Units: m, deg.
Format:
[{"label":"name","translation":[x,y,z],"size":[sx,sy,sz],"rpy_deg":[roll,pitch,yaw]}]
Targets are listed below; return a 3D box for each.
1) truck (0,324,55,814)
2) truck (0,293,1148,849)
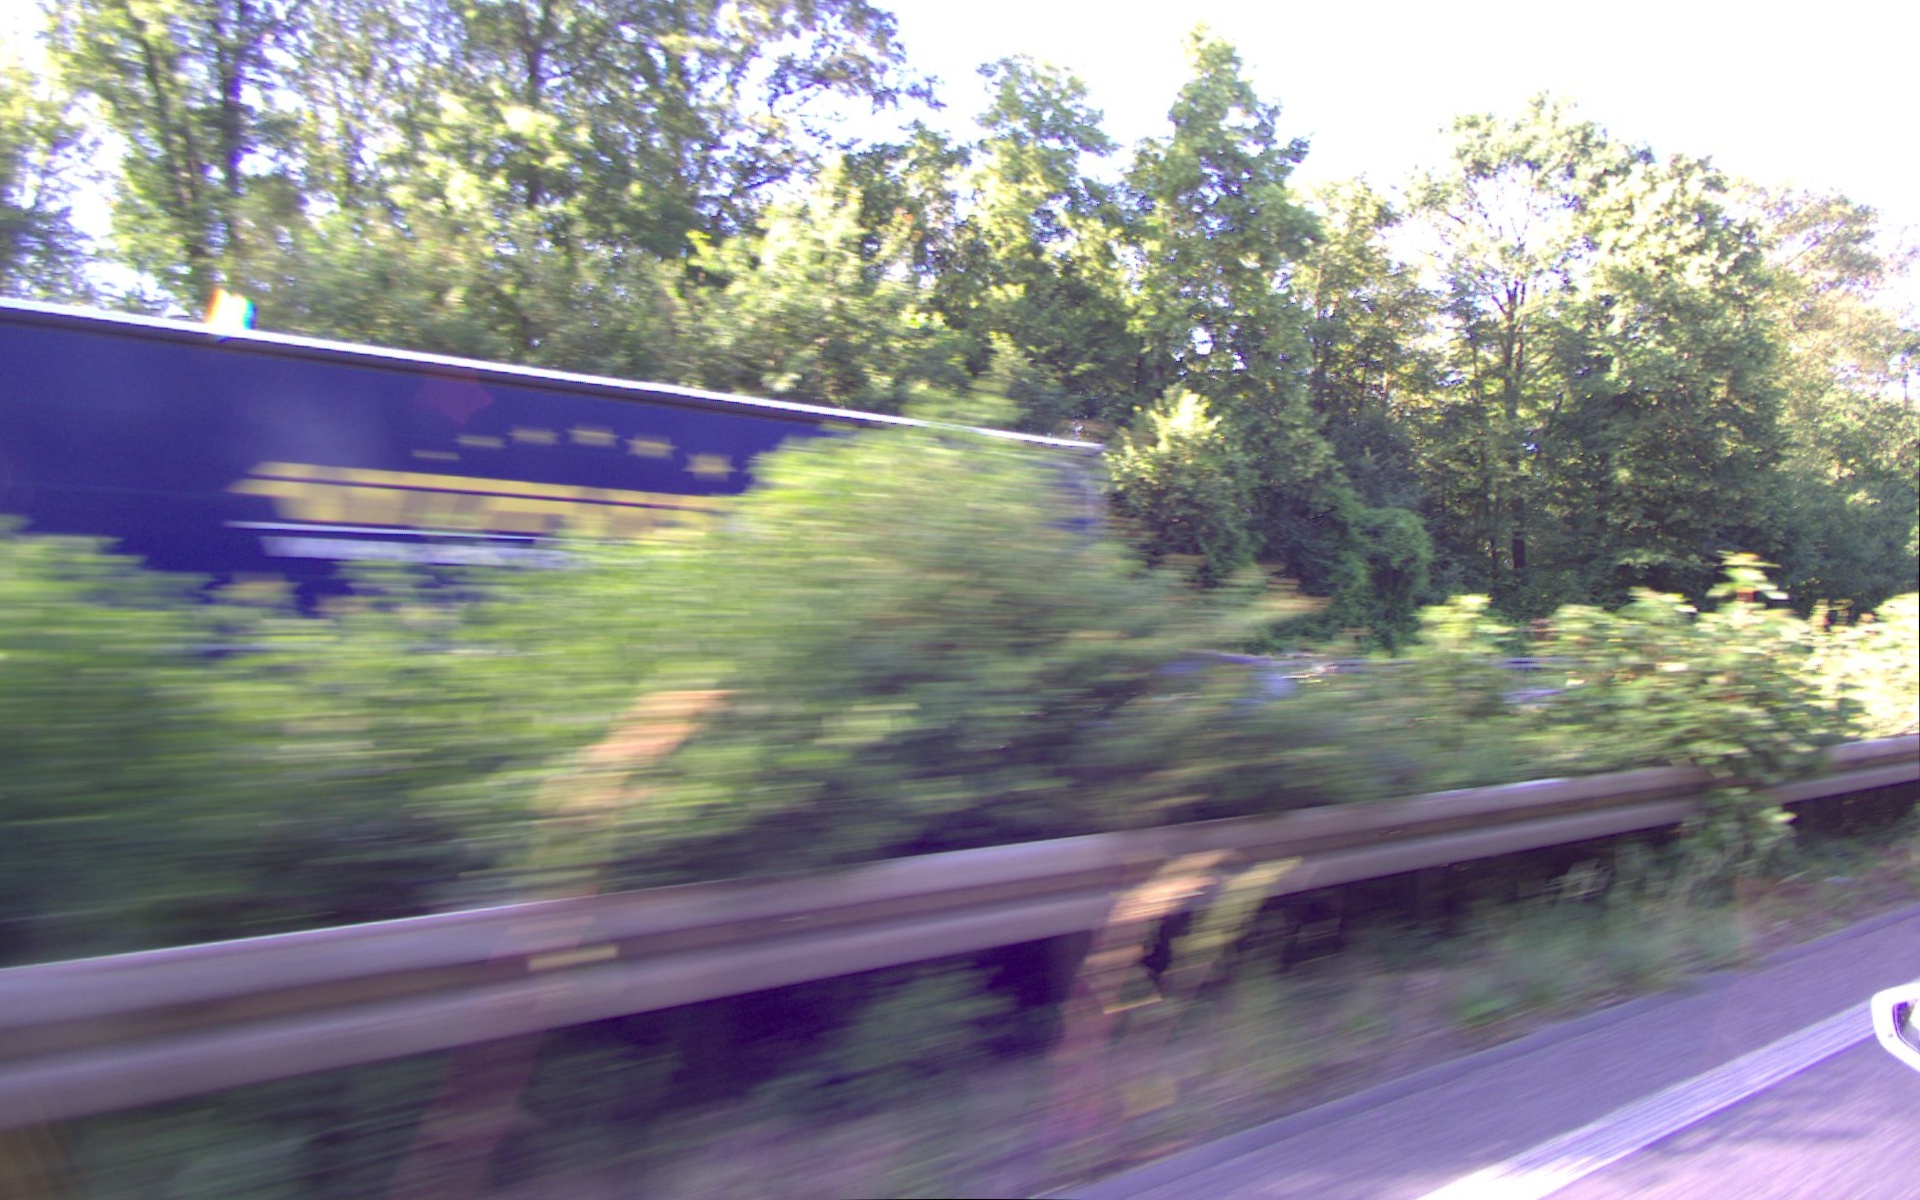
[{"label":"truck","translation":[-10.455,-0.302,7.162],"size":[5.373,4.151,2.703],"rpy_deg":[2,0,-30]},{"label":"truck","translation":[-4.214,-0.107,10.812],"size":[13.857,4.151,2.694],"rpy_deg":[2,0,-30]}]
